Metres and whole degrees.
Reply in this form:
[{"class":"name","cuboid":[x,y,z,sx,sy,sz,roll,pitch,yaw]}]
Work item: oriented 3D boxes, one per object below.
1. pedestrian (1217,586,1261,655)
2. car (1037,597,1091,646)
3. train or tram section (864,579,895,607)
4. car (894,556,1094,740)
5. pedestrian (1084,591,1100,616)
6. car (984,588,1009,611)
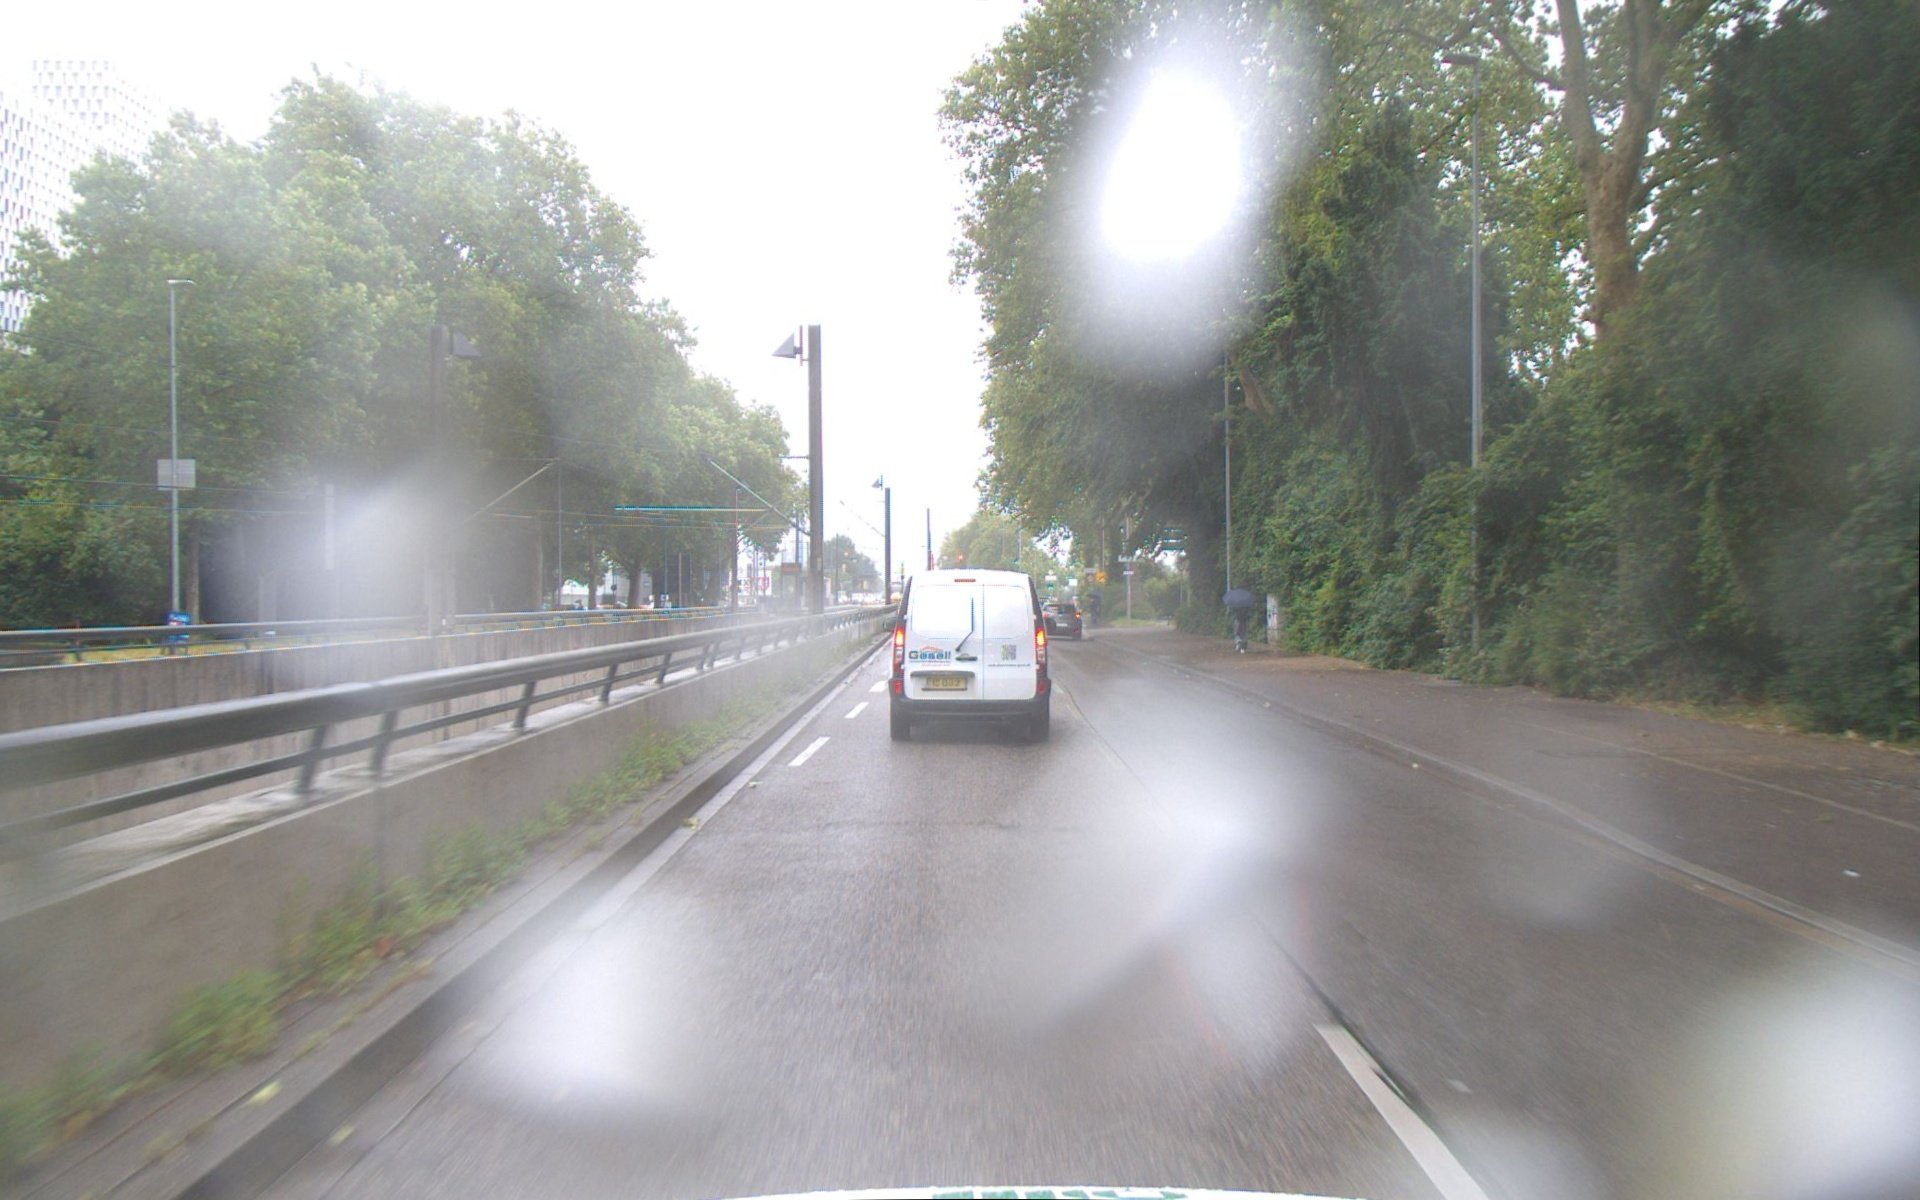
[{"class":"pedestrian","cuboid":[7.153,0.519,42.453,0.947,1.732,1.141,0,0,0]},{"class":"car","cuboid":[3.993,0.801,63.490,1.952,1.780,4.002,2,0,3]},{"class":"train or tram section","cuboid":[-12.394,-1.070,258.027,3.693,4.107,27.089,2,0,0]},{"class":"car","cuboid":[0.307,0.488,18.917,1.984,1.806,4.273,2,0,-1]},{"class":"pedestrian","cuboid":[7.641,0.192,95.688,0.873,1.414,1.016,-2,0,2]},{"class":"car","cuboid":[3.032,-0.031,137.130,1.952,1.780,4.000,2,0,1]}]
